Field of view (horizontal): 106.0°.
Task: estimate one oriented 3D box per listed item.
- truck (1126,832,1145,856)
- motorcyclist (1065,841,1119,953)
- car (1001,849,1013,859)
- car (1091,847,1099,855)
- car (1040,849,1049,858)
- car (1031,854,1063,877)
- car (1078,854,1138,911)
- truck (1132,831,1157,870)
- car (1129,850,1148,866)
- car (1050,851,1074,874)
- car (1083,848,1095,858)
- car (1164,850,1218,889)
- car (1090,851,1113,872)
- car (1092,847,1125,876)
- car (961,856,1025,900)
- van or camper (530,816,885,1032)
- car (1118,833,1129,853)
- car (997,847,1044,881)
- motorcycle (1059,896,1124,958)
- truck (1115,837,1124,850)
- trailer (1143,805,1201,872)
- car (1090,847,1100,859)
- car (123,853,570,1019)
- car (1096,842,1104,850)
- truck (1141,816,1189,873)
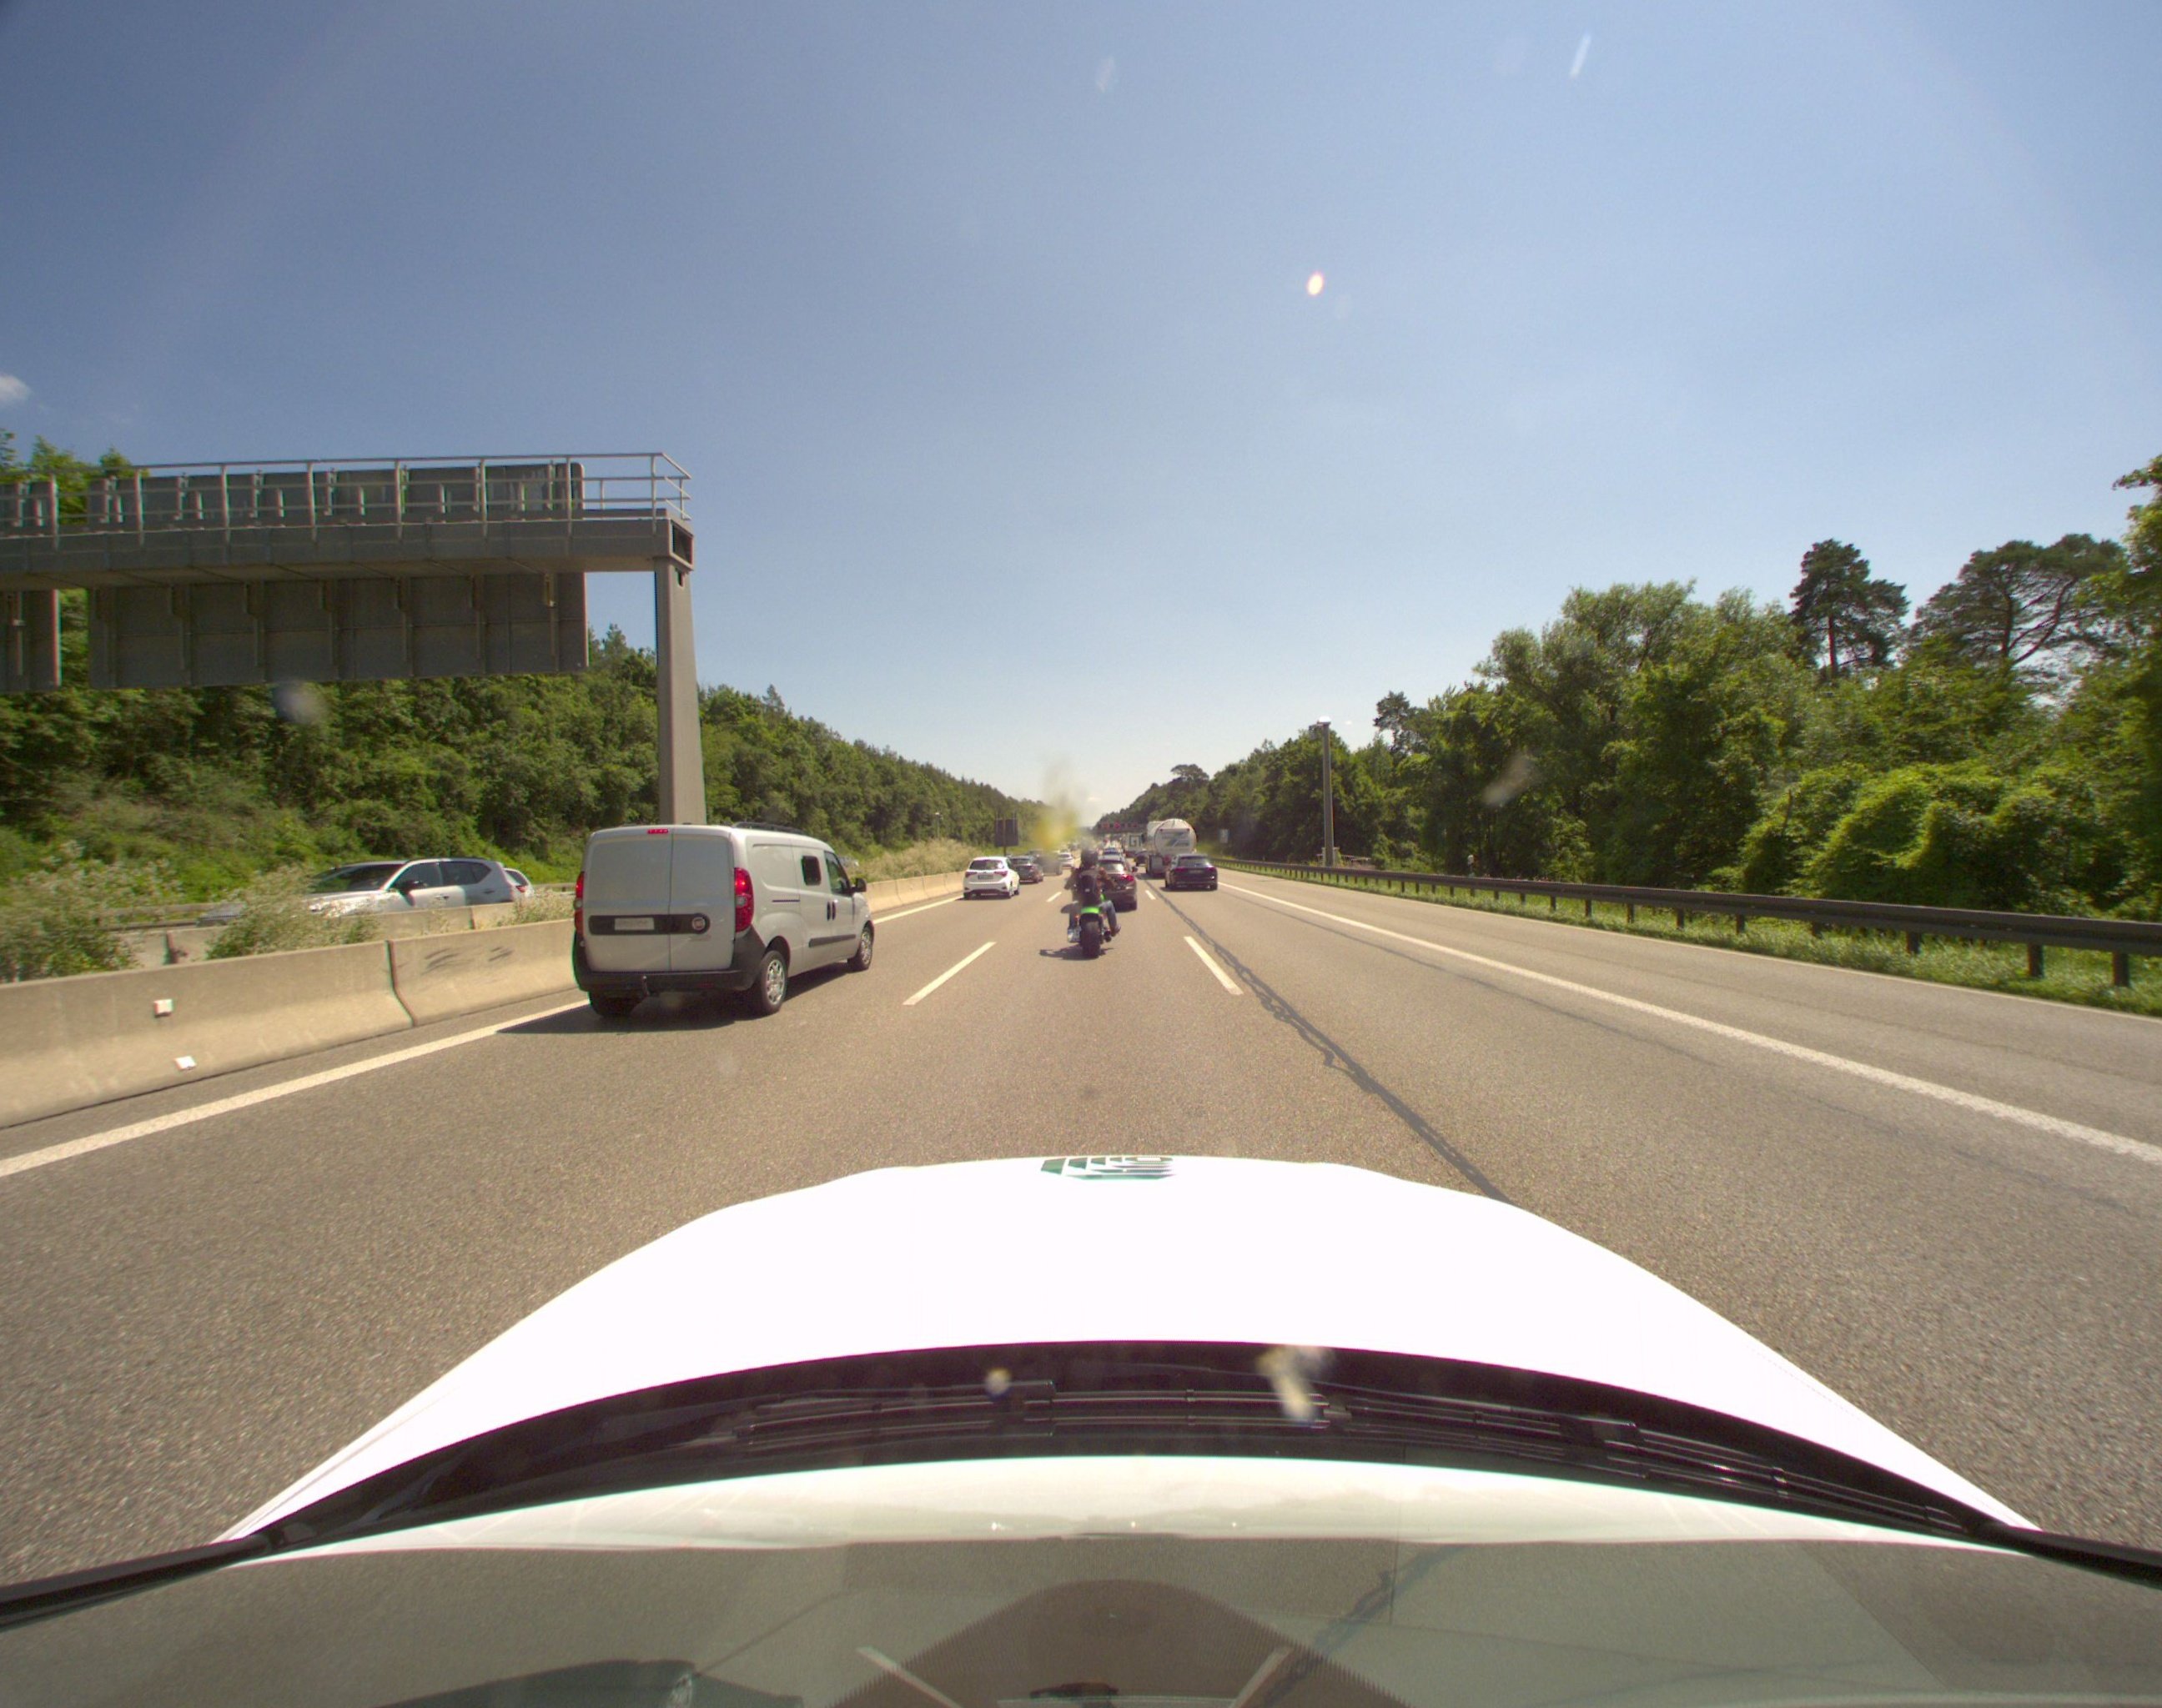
[{"bbox_3d":[9.098,-1.593,135.799,2.840,3.821,7.197,-1,-1,5],"label":"truck"},{"bbox_3d":[0.189,0.658,12.873,0.796,1.688,1.017,-1,-2,2],"label":"motorcyclist"},{"bbox_3d":[-15.662,-0.078,172.379,1.986,2.013,4.001,-1,0,1],"label":"car"},{"bbox_3d":[2.921,-0.539,170.776,1.654,1.599,4.003,-1,-1,3],"label":"car"},{"bbox_3d":[-7.932,-0.163,176.546,1.690,1.813,4.001,-1,0,1],"label":"car"},{"bbox_3d":[-2.330,0.821,56.576,1.987,1.464,3.999,-1,-1,0],"label":"car"},{"bbox_3d":[0.791,0.763,23.081,1.535,1.450,4.002,-1,-1,2],"label":"car"},{"bbox_3d":[7.760,-0.407,100.919,2.380,4.464,10.872,-1,0,1],"label":"truck"},{"bbox_3d":[5.629,0.391,80.270,1.769,1.527,4.002,-1,-1,2],"label":"car"},{"bbox_3d":[-1.724,0.818,75.002,1.986,2.014,4.001,-1,-1,2],"label":"car"},{"bbox_3d":[1.261,-0.148,130.773,1.756,1.442,4.003,1,0,3],"label":"car"},{"bbox_3d":[4.432,0.659,33.428,1.785,1.458,4.626,-1,-1,2],"label":"car"},{"bbox_3d":[1.802,0.666,72.862,1.986,1.775,4.001,-1,-1,1],"label":"car"},{"bbox_3d":[1.688,0.480,50.262,1.986,1.711,4.001,-1,-1,1],"label":"car"},{"bbox_3d":[-3.187,0.833,30.132,1.769,1.411,4.003,-1,1,2],"label":"car"},{"bbox_3d":[-3.835,0.614,9.428,1.846,1.880,4.563,-1,0,2],"label":"van or camper"},{"bbox_3d":[9.113,-2.236,173.887,2.159,3.893,9.334,-1,-1,2],"label":"car"},{"bbox_3d":[-3.121,0.553,43.062,1.986,1.684,4.332,-1,-1,2],"label":"car"},{"bbox_3d":[0.200,1.115,12.902,0.932,0.793,2.300,-1,-1,2],"label":"motorcycle"},{"bbox_3d":[11.816,-3.203,248.875,2.686,3.405,10.483,-2,-1,2],"label":"truck"},{"bbox_3d":[5.454,-0.719,50.472,2.817,3.671,10.737,-1,-1,2],"label":"trailer"},{"bbox_3d":[2.631,-0.186,148.201,1.654,1.978,4.003,-1,-1,3],"label":"car"},{"bbox_3d":[-10.770,1.009,12.756,1.986,2.013,5.389,-1,0,2],"label":"car"},{"bbox_3d":[5.331,-2.194,228.880,1.986,2.014,4.002,-2,-1,2],"label":"car"},{"bbox_3d":[5.694,-0.573,56.085,2.817,3.671,6.432,-1,-1,2],"label":"truck"}]
